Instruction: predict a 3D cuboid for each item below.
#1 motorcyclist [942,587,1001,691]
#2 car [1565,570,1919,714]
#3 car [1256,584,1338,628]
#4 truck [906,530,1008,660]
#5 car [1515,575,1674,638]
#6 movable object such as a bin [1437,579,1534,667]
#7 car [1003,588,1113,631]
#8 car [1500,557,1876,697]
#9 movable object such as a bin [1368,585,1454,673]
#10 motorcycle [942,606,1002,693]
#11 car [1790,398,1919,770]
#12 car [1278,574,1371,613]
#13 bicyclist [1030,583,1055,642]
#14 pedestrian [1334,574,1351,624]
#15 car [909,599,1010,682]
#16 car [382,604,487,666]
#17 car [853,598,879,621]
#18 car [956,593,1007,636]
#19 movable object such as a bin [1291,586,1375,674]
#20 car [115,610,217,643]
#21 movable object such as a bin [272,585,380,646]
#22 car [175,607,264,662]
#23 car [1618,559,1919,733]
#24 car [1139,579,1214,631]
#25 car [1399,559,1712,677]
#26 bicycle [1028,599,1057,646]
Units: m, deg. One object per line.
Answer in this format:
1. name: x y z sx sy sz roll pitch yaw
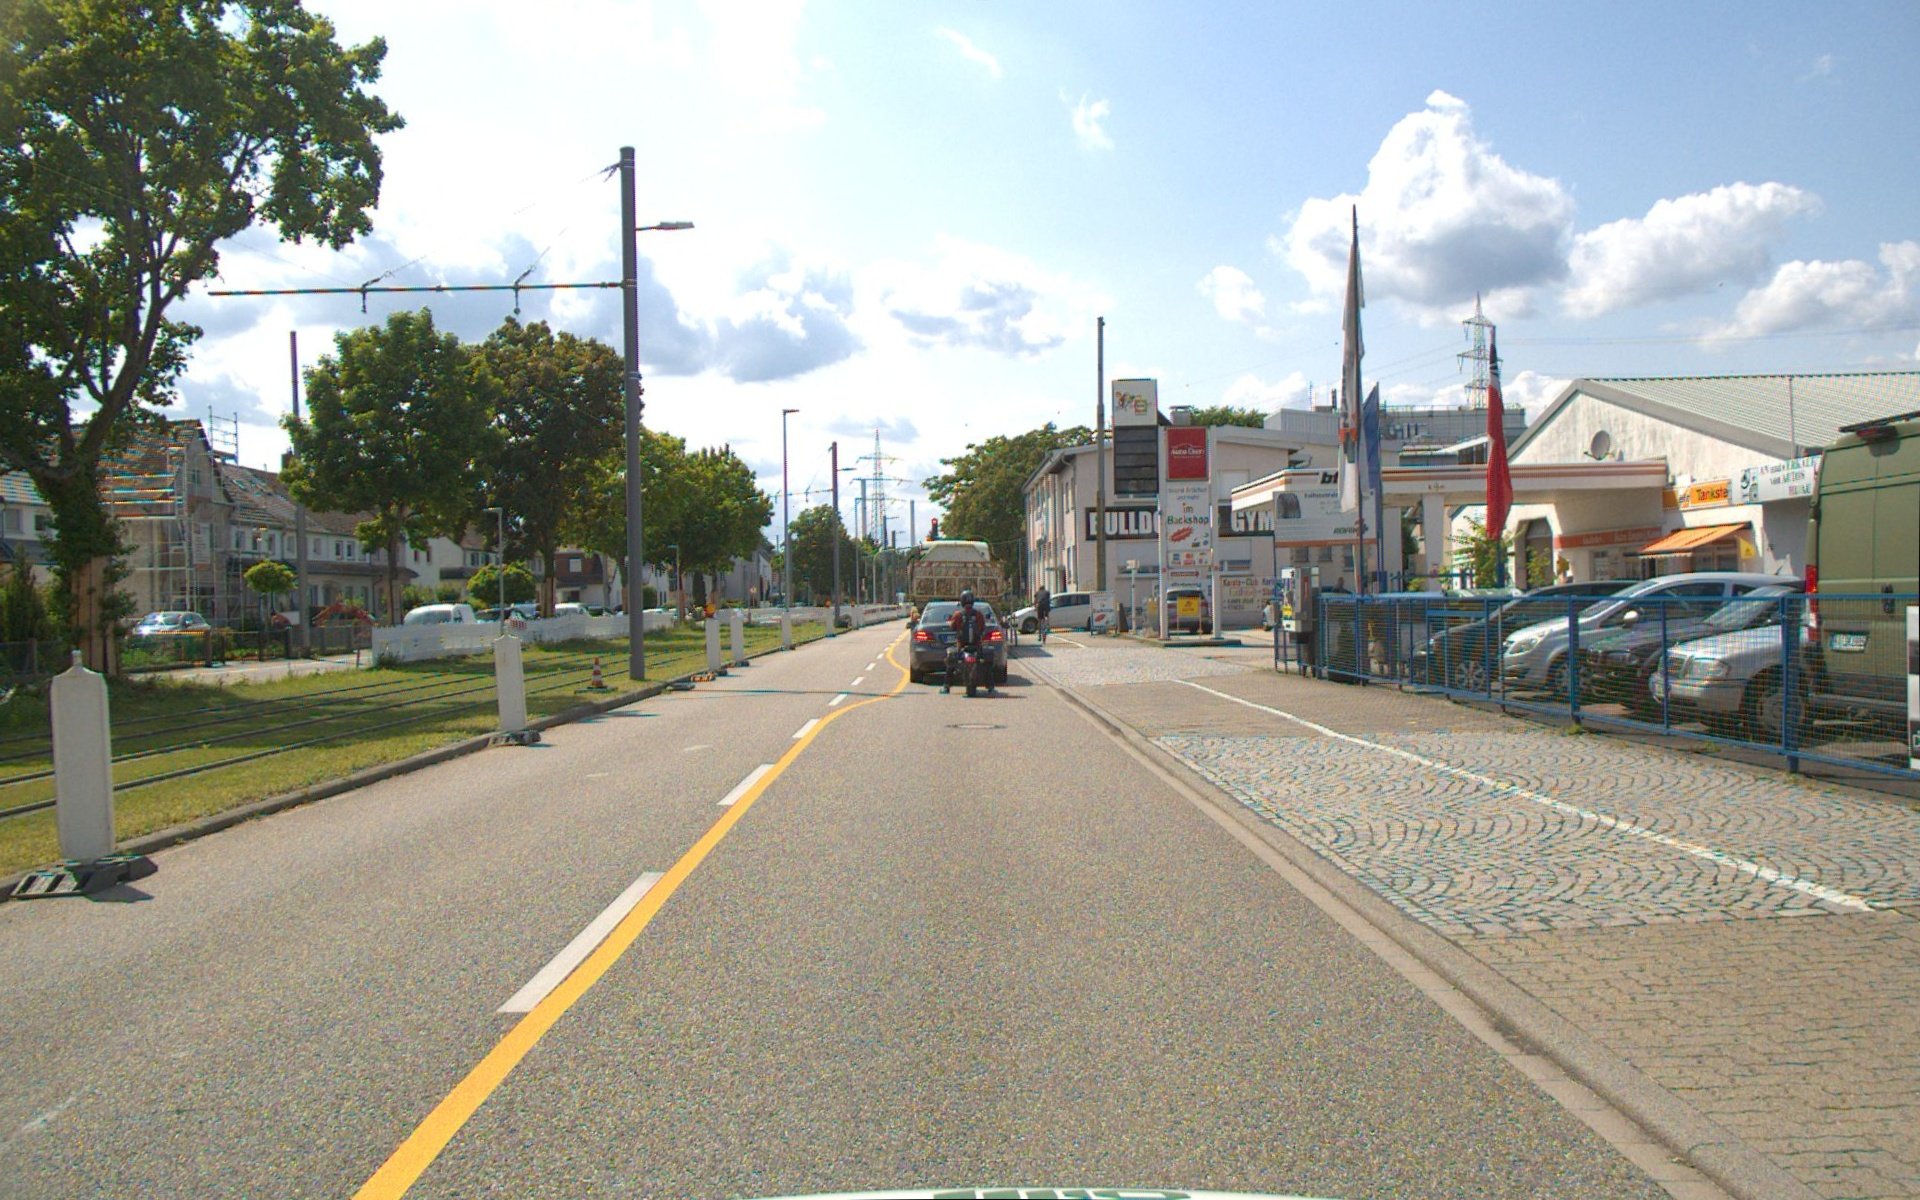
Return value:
1. motorcyclist: 0.185 0.624 26.834 0.920 1.643 1.204 1 0 -1
2. car: 8.699 0.424 17.611 3.902 1.379 1.822 -2 0 8
3. car: 12.010 0.217 59.154 1.920 1.445 3.998 -2 -1 -3
4. truck: -0.072 -0.221 47.824 2.557 3.312 9.182 -2 1 0
5. car: 15.598 0.172 40.779 3.253 1.384 1.611 -2 -1 -1
6. movable object such as a bin: 9.167 0.400 28.891 1.295 1.469 0.953 -2 -1 -8
7. car: 4.077 0.396 68.984 4.250 1.579 1.946 -2 -1 -9
8. car: 8.693 0.337 20.098 3.902 1.522 1.752 -2 0 15
9. movable object such as a bin: 7.877 0.508 28.910 1.230 1.469 0.824 -2 -1 0
10. motorcycle: 0.179 0.780 27.014 0.920 1.343 2.644 1 0 -1
11. car: 9.010 -0.170 12.385 4.443 2.618 2.151 -2 -1 1
12. car: 17.360 -0.292 78.876 3.906 1.677 1.965 -2 -1 -1
13. bicyclist: 2.503 0.376 50.348 0.657 1.774 0.813 -1 0 -1
14. pedestrian: 13.269 -0.024 57.357 0.388 1.718 0.485 -2 -1 0
15. car: -0.034 0.726 31.485 1.784 1.449 3.999 -1 0 -1
16. car: -16.285 1.069 51.450 1.953 1.780 3.999 -2 -1 -1
17. car: -6.363 0.648 112.133 1.622 1.472 4.301 -2 0 -2
18. car: 0.750 0.506 60.692 1.784 1.489 4.000 -1 0 0
19. movable object such as a bin: 6.527 0.527 29.002 1.230 1.469 0.824 -2 -1 0
20. car: -28.454 0.945 59.385 1.650 1.071 3.981 -2 -1 1
21. movable object such as a bin: -27.515 0.669 71.813 4.277 2.492 1.776 -2 0 -23
22. car: -25.249 1.150 56.475 1.650 1.752 3.029 -2 -1 -1
23. car: 8.461 0.377 15.216 4.095 1.456 1.821 -2 0 6
24. car: 7.594 0.193 58.380 1.920 1.677 3.998 -2 -1 -3
25. car: 8.143 0.262 22.913 3.903 1.468 1.711 -2 0 17
26. bicycle: 2.505 0.661 50.591 0.678 1.385 2.418 -2 0 -1
